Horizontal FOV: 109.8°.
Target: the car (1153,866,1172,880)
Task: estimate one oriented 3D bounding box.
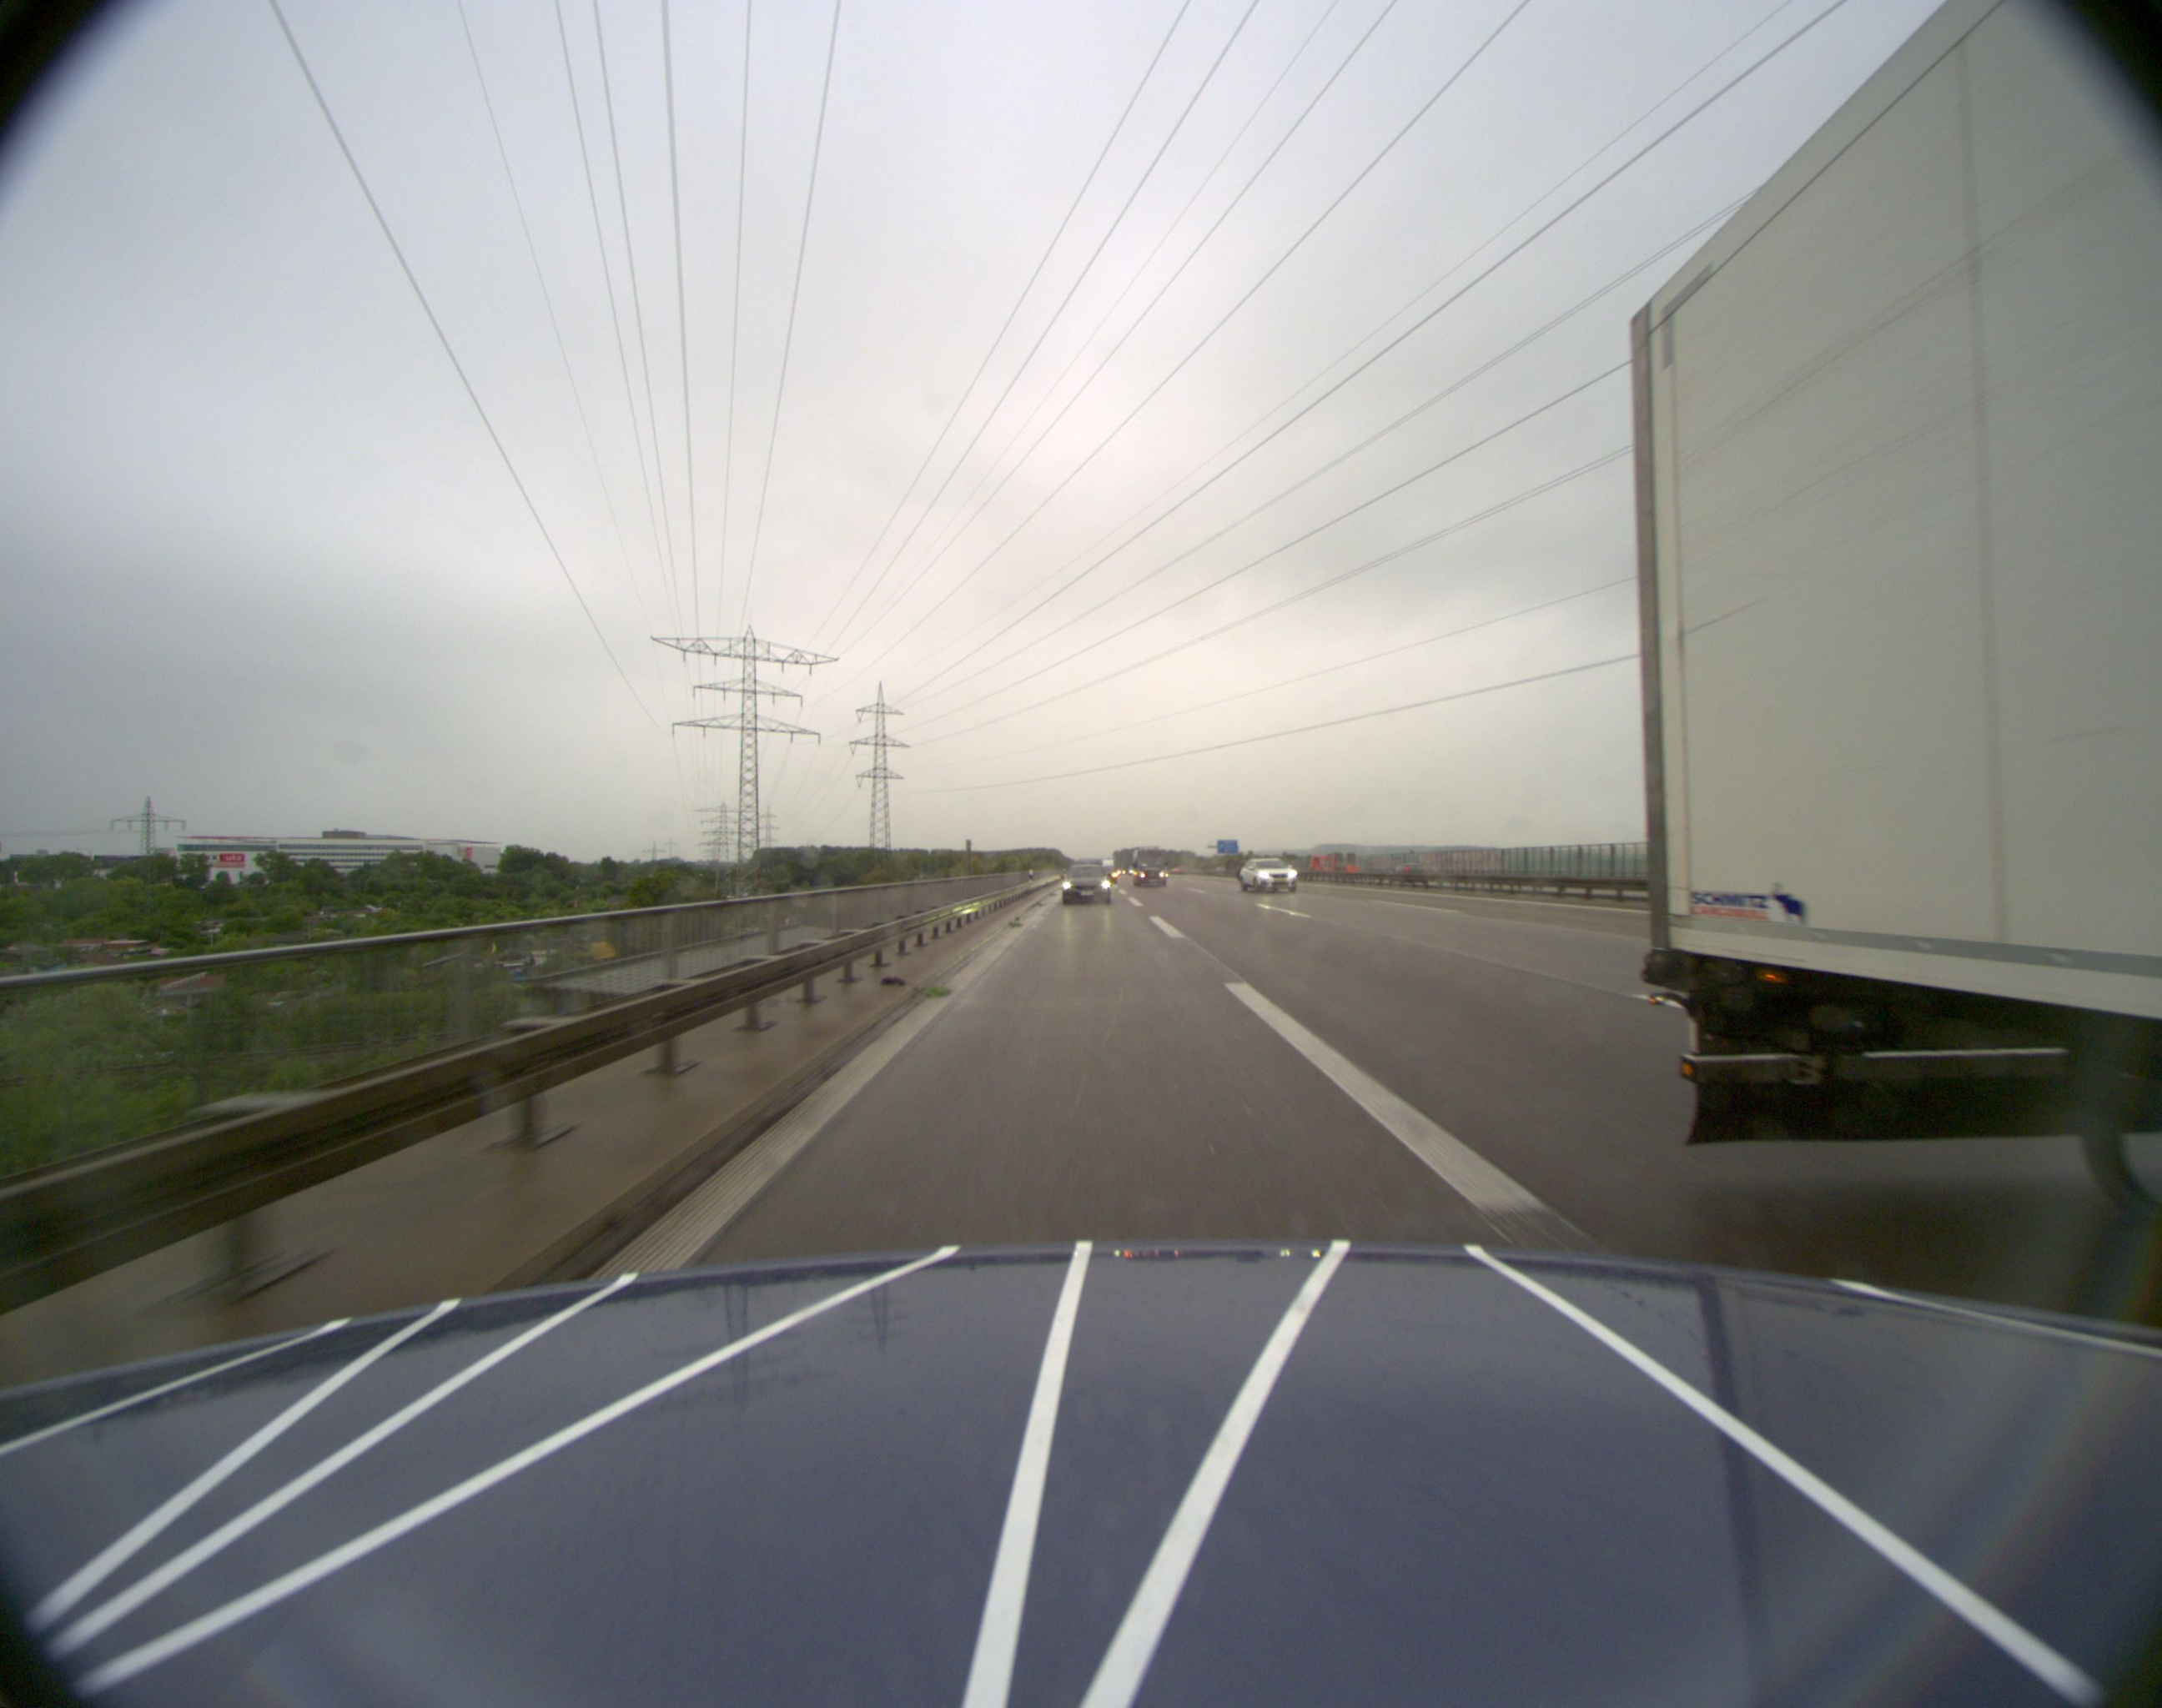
[{"bbox_3d":[8.909,2.081,83.045,1.729,1.394,4.830,-2,-1,2],"label":"car"}]

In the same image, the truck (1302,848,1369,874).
[{"bbox_3d":[31.342,0.764,94.338,3.619,2.819,14.319,-2,1,1],"label":"truck"}]

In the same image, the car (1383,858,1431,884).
[{"bbox_3d":[23.258,1.192,54.313,1.629,1.575,3.786,-7,-1,1],"label":"car"}]

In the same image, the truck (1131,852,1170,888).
[{"bbox_3d":[4.734,1.081,52.974,1.999,2.324,6.110,-1,-1,-1],"label":"truck"}]

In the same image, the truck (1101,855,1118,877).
[{"bbox_3d":[5.601,2.467,151.313,2.704,4.171,8.925,-2,-1,0],"label":"truck"}]

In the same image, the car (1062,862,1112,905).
[{"bbox_3d":[0.201,1.161,31.037,1.862,1.531,4.203,-2,0,-1],"label":"car"}]

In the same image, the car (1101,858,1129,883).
[{"bbox_3d":[2.822,1.375,64.288,1.999,2.002,4.785,-2,0,-1],"label":"car"}]

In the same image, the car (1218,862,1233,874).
[{"bbox_3d":[24.688,2.407,129.903,1.903,1.761,3.999,-2,1,1],"label":"car"}]

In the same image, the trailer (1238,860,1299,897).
[{"bbox_3d":[8.866,1.146,36.297,1.819,1.614,4.569,-1,-1,1],"label":"trailer"}]
